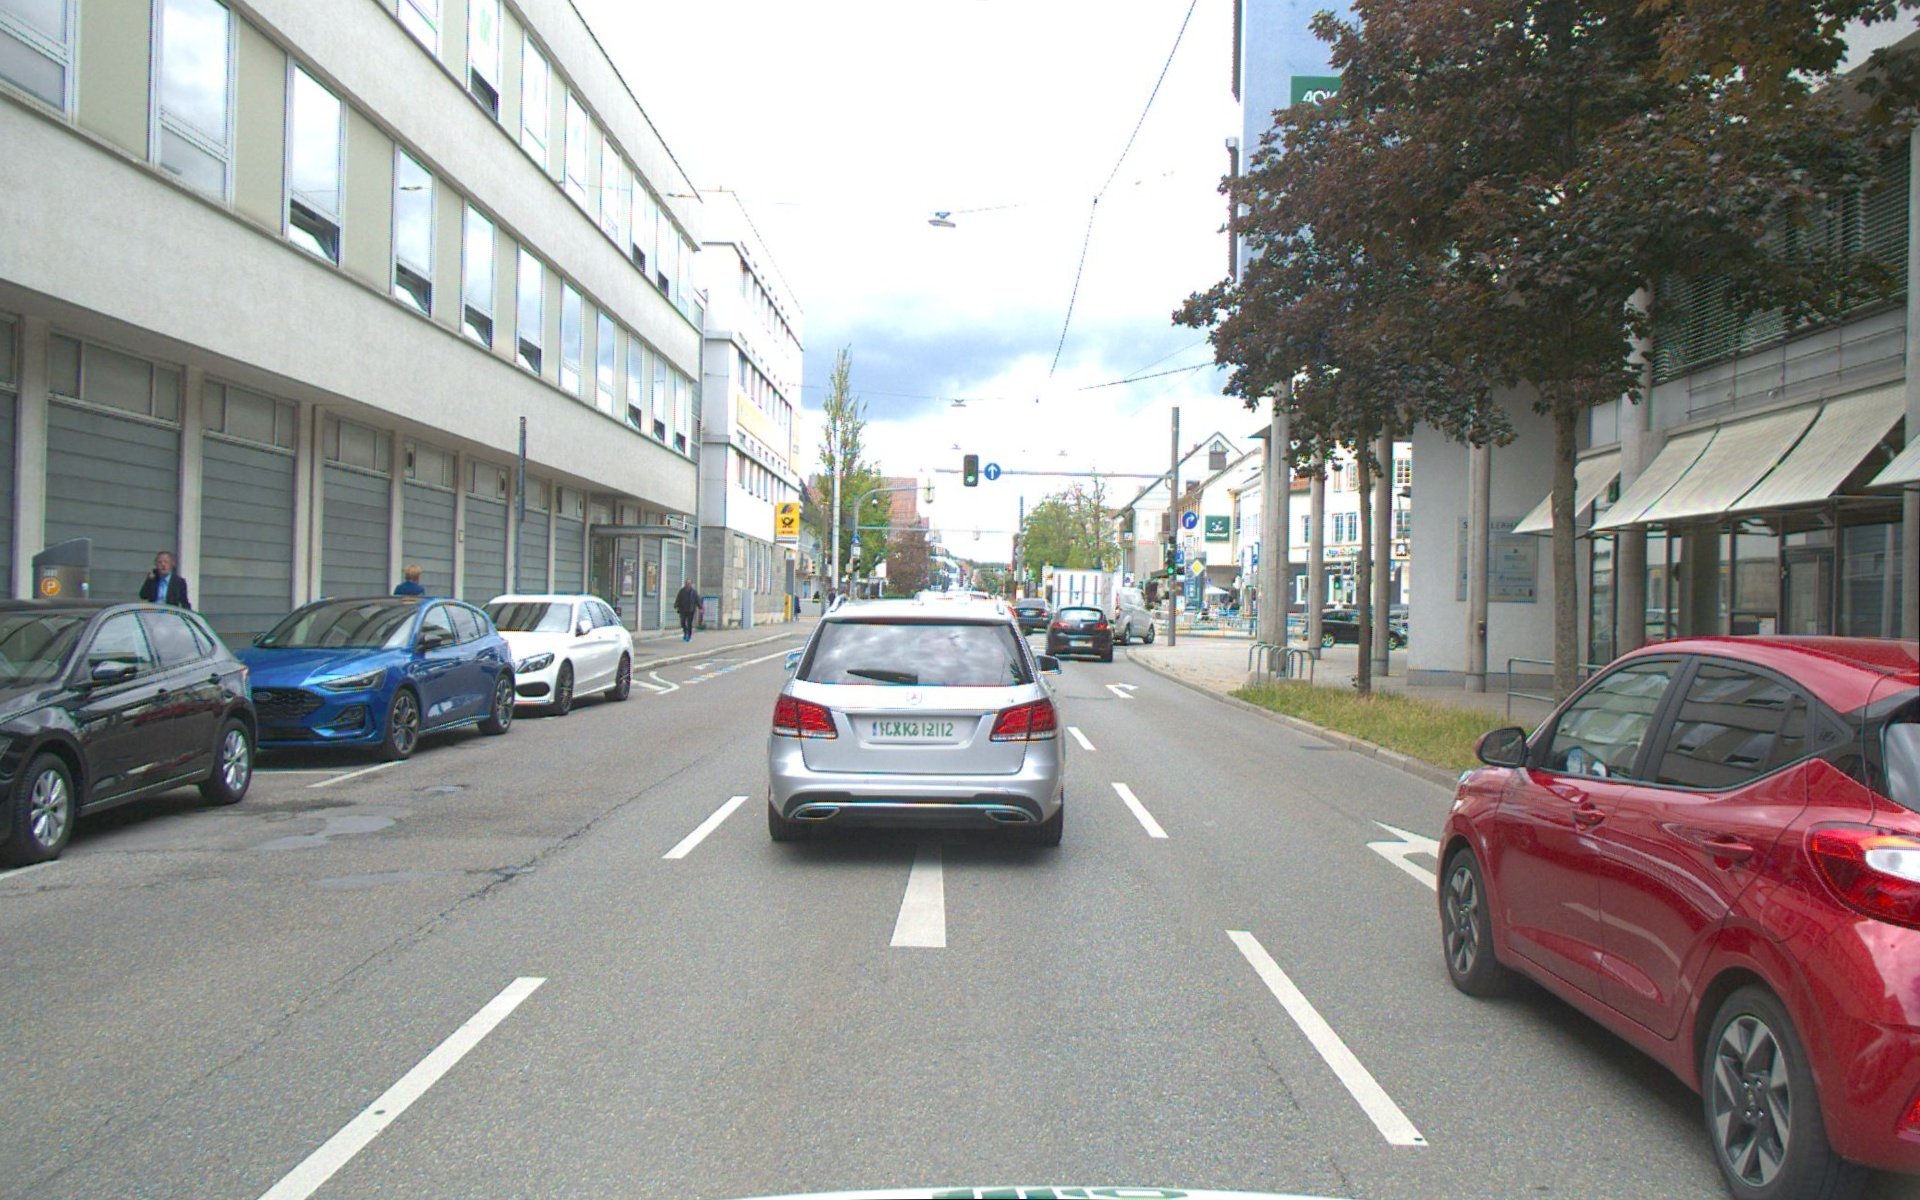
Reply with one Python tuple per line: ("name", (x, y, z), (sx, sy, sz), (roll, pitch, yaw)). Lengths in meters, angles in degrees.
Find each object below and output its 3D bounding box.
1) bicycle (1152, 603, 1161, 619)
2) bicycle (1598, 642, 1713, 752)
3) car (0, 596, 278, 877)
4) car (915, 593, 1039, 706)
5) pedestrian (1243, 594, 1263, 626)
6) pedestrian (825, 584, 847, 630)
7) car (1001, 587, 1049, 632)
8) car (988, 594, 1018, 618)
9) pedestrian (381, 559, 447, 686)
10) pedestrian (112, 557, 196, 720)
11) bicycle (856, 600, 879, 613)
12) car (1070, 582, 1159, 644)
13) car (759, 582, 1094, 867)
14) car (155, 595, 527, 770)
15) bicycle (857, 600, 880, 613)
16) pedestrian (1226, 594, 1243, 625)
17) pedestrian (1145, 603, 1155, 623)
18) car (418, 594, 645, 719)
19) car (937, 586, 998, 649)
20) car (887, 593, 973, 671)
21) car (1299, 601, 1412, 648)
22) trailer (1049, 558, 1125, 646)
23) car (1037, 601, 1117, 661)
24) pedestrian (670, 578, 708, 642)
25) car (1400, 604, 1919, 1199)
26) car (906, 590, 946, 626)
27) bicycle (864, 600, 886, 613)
("bicycle", (14.447, 0.791, 121.627), (0.438, 1.127, 2.149), (1, 0, 1))
("bicycle", (7.760, 1.050, 18.536), (0.353, 1.105, 2.027), (2, 0, -1))
("car", (-5.844, 0.707, 10.276), (1.681, 1.450, 3.869), (-1, 0, -2))
("car", (0.252, 0.686, 24.915), (1.698, 1.534, 4.000), (1, 0, 0))
("pedestrian", (16.365, 0.552, 92.330), (0.776, 1.748, 0.645), (2, 0, -24))
("pedestrian", (-4.793, 0.253, 63.968), (0.634, 1.748, 0.783), (2, 0, 8))
("car", (2.711, 0.365, 69.778), (1.791, 1.816, 3.999), (1, 0, -1))
("car", (2.722, 0.376, 106.253), (1.699, 1.435, 3.999), (1, 1, -1))
("pedestrian", (-7.713, 0.310, 23.410), (0.577, 1.748, 1.055), (1, 0, -2))
("pedestrian", (-8.813, 0.410, 18.104), (0.577, 1.748, 0.649), (1, 0, -2))
("bicycle", (-8.023, 0.581, 143.873), (1.902, 1.047, 0.529), (2, 0, -9))
("car", (5.562, 0.488, 58.906), (1.839, 1.979, 4.906), (3, 0, 20))
("car", (-0.231, 0.678, 11.112), (1.808, 1.534, 4.170), (1, 0, -1))
("car", (-5.748, 0.684, 15.978), (1.777, 1.451, 4.266), (-1, 0, 3))
("bicycle", (-7.896, 0.585, 143.212), (1.902, 1.047, 0.529), (2, 0, -9))
("pedestrian", (15.367, 0.525, 92.663), (0.698, 1.748, 0.640), (1, 0, -40))
("pedestrian", (14.584, 0.982, 126.768), (0.567, 1.495, 0.650), (2, 0, -6))
("car", (-5.514, 0.663, 21.883), (1.635, 1.459, 4.554), (-1, 0, 2))
("car", (0.183, 0.508, 49.513), (1.699, 1.790, 3.999), (1, 0, -1))
("car", (-0.643, 0.629, 34.868), (1.699, 1.534, 3.999), (1, 0, -1))
("car", (14.885, 0.911, 62.313), (3.714, 1.699, 1.926), (1, 0, -7))
("trailer", (4.224, 0.081, 54.410), (1.838, 2.658, 4.326), (3, 0, 11))
("car", (3.036, 0.775, 43.590), (1.699, 1.435, 3.999), (1, 1, -1))
("pedestrian", (-7.638, 0.284, 46.602), (0.844, 1.748, 1.031), (2, 0, -2))
("car", (2.900, 0.812, 5.587), (1.664, 1.477, 4.000), (3, 0, 0))
("car", (-1.643, 0.372, 80.524), (1.739, 1.660, 4.768), (0, 0, 1))
("bicycle", (-7.550, 0.604, 147.157), (1.902, 1.047, 0.529), (2, 0, -9))
